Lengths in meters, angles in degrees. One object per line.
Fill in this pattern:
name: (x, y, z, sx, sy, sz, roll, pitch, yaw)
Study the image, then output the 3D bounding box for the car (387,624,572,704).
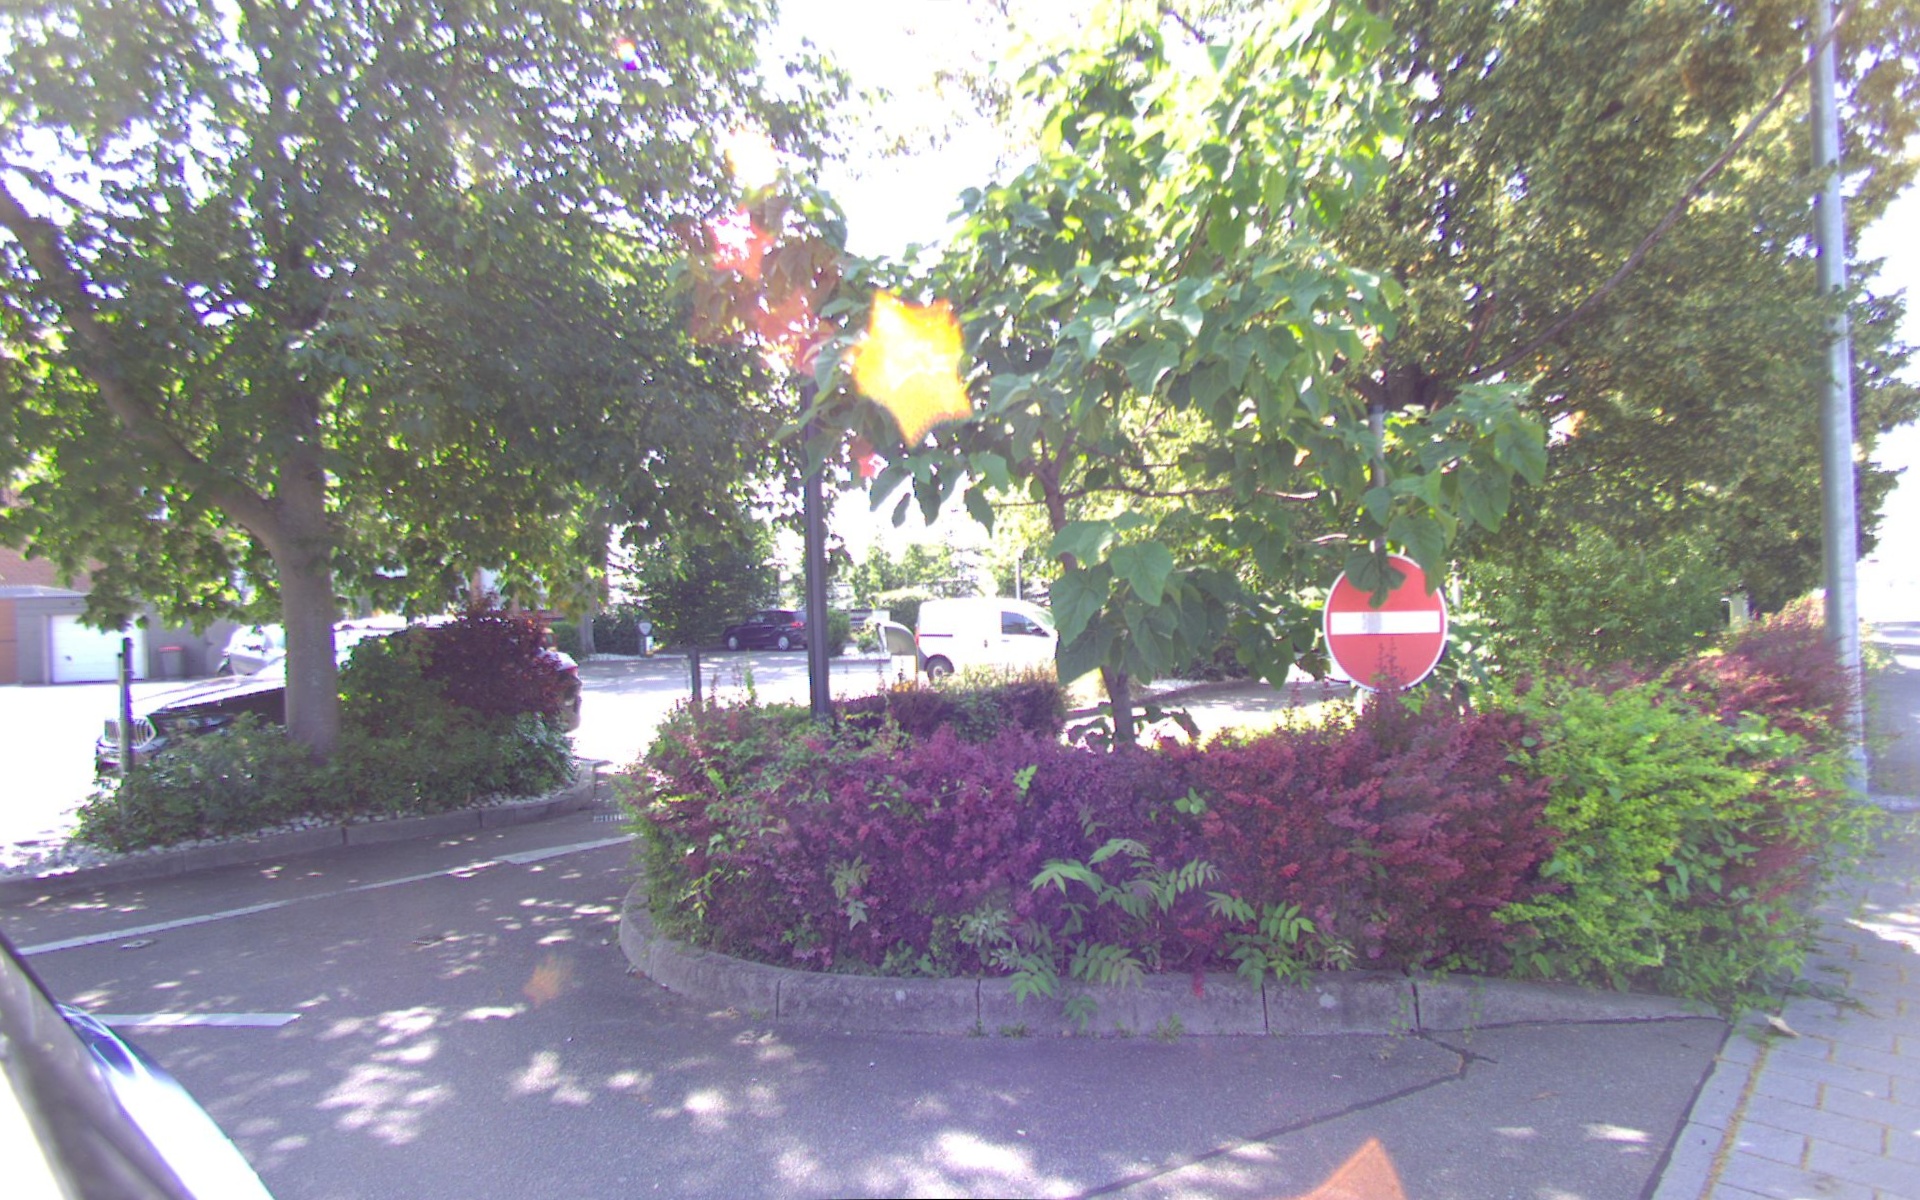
car: (-11.289, 1.448, 23.995, 1.662, 1.644, 3.687, -1, 0, 29)

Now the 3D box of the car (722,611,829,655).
car: (-7.205, 1.270, 39.395, 3.854, 1.588, 1.801, -1, 0, 30)

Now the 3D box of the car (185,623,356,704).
car: (-14.677, 1.298, 21.514, 3.598, 1.543, 1.604, -1, 0, 30)

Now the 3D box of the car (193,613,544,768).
car: (-8.174, 1.130, 14.478, 1.747, 1.812, 4.200, -1, 0, 20)

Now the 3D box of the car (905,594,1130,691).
car: (1.195, 0.878, 21.138, 4.327, 1.841, 1.735, -2, 0, 24)

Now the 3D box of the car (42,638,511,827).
car: (-6.972, 1.232, 10.861, 1.644, 1.505, 3.973, -2, -1, 20)

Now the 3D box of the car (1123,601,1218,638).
car: (9.408, 0.879, 45.287, 3.831, 1.600, 1.628, -1, 0, 28)

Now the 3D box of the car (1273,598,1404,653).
car: (11.777, 0.756, 31.316, 2.074, 1.572, 4.959, -3, -2, 42)
